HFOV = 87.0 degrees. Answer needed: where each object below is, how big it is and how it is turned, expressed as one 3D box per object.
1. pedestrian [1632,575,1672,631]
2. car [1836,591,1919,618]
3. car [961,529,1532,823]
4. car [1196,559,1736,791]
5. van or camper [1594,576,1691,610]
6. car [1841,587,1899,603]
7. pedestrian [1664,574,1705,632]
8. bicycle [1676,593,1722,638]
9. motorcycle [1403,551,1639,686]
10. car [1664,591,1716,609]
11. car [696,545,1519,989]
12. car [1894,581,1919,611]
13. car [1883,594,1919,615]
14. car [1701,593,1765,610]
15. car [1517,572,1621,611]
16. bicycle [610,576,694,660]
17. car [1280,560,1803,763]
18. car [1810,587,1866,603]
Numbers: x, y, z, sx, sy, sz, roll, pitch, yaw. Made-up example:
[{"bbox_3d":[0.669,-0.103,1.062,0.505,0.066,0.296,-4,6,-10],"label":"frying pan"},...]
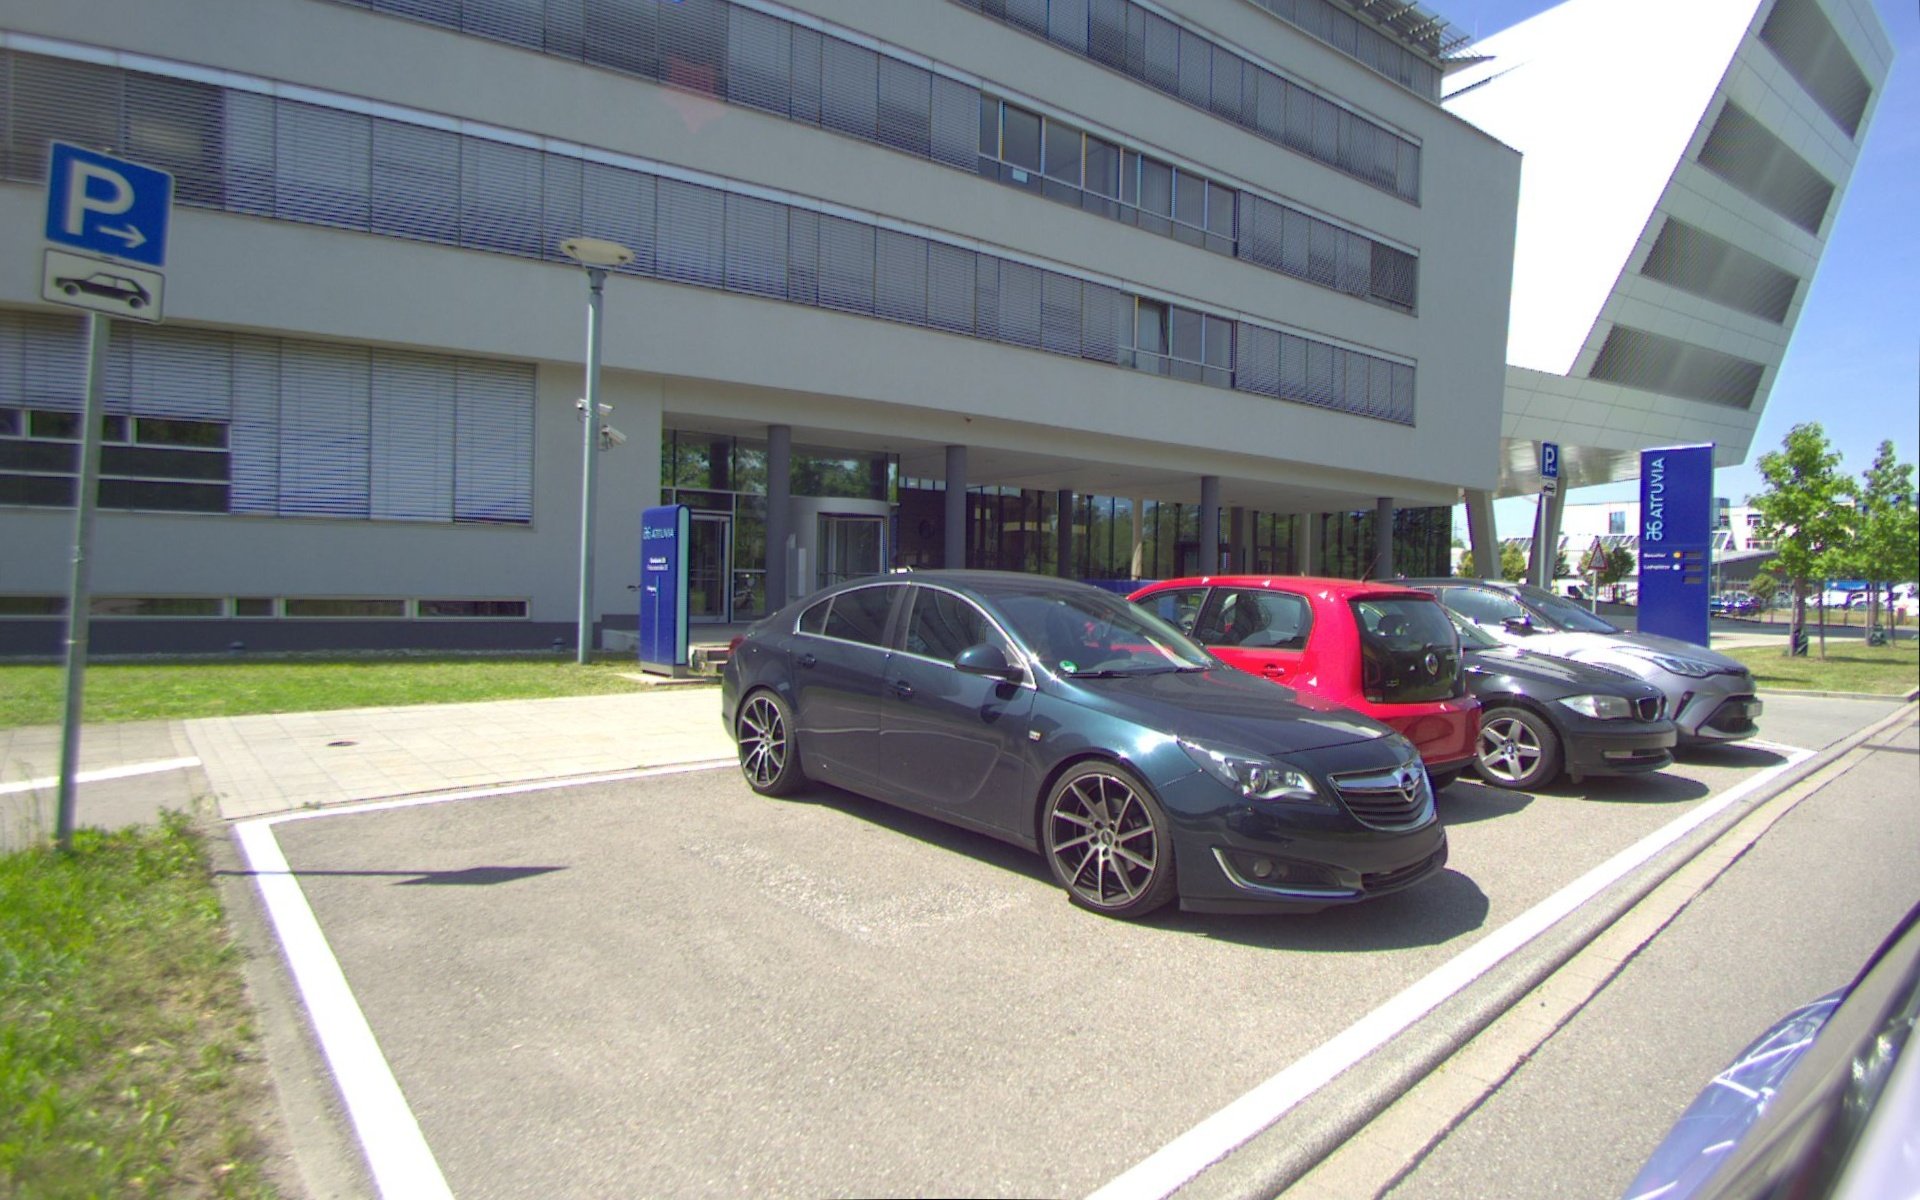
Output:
[{"bbox_3d":[21.163,0.099,30.959,0.762,1.681,0.843,0,0,-42],"label":"pedestrian"},{"bbox_3d":[58.731,0.248,64.723,1.709,1.695,3.823,0,0,-37],"label":"car"},{"bbox_3d":[1.951,0.366,7.911,1.806,1.675,3.998,0,2,-38],"label":"car"},{"bbox_3d":[4.099,0.435,8.739,1.625,1.504,3.818,0,2,-38],"label":"car"},{"bbox_3d":[50.263,-0.512,74.656,1.670,2.420,5.708,0,0,-34],"label":"van or camper"},{"bbox_3d":[96.692,-0.510,107.589,1.670,1.678,4.327,0,0,-34],"label":"car"},{"bbox_3d":[21.698,0.081,30.306,0.762,1.722,0.843,0,0,-42],"label":"pedestrian"},{"bbox_3d":[21.770,0.431,29.796,2.265,1.270,0.644,0,0,-42],"label":"bicycle"},{"bbox_3d":[6.972,0.169,12.800,1.200,1.516,2.451,2,2,-14],"label":"motorcycle"},{"bbox_3d":[53.537,0.000,74.257,1.177,1.320,2.899,0,0,-34],"label":"car"},{"bbox_3d":[0.378,0.479,5.794,1.796,1.449,4.576,0,4,-41],"label":"car"},{"bbox_3d":[72.798,-0.275,73.863,2.123,2.177,6.501,0,0,-34],"label":"car"},{"bbox_3d":[66.732,0.288,70.020,1.622,1.410,3.998,0,0,-37],"label":"car"},{"bbox_3d":[62.177,0.093,81.476,1.431,1.387,3.821,0,0,-34],"label":"car"},{"bbox_3d":[40.249,-0.547,67.026,1.961,2.491,5.589,0,0,-34],"label":"car"},{"bbox_3d":[-4.249,0.221,13.864,0.524,1.073,1.883,0,0,-36],"label":"bicycle"},{"bbox_3d":[5.733,0.431,10.492,1.754,1.582,4.332,0,3,-39],"label":"car"},{"bbox_3d":[87.558,-0.498,100.907,1.670,1.561,3.922,0,0,-34],"label":"car"}]
